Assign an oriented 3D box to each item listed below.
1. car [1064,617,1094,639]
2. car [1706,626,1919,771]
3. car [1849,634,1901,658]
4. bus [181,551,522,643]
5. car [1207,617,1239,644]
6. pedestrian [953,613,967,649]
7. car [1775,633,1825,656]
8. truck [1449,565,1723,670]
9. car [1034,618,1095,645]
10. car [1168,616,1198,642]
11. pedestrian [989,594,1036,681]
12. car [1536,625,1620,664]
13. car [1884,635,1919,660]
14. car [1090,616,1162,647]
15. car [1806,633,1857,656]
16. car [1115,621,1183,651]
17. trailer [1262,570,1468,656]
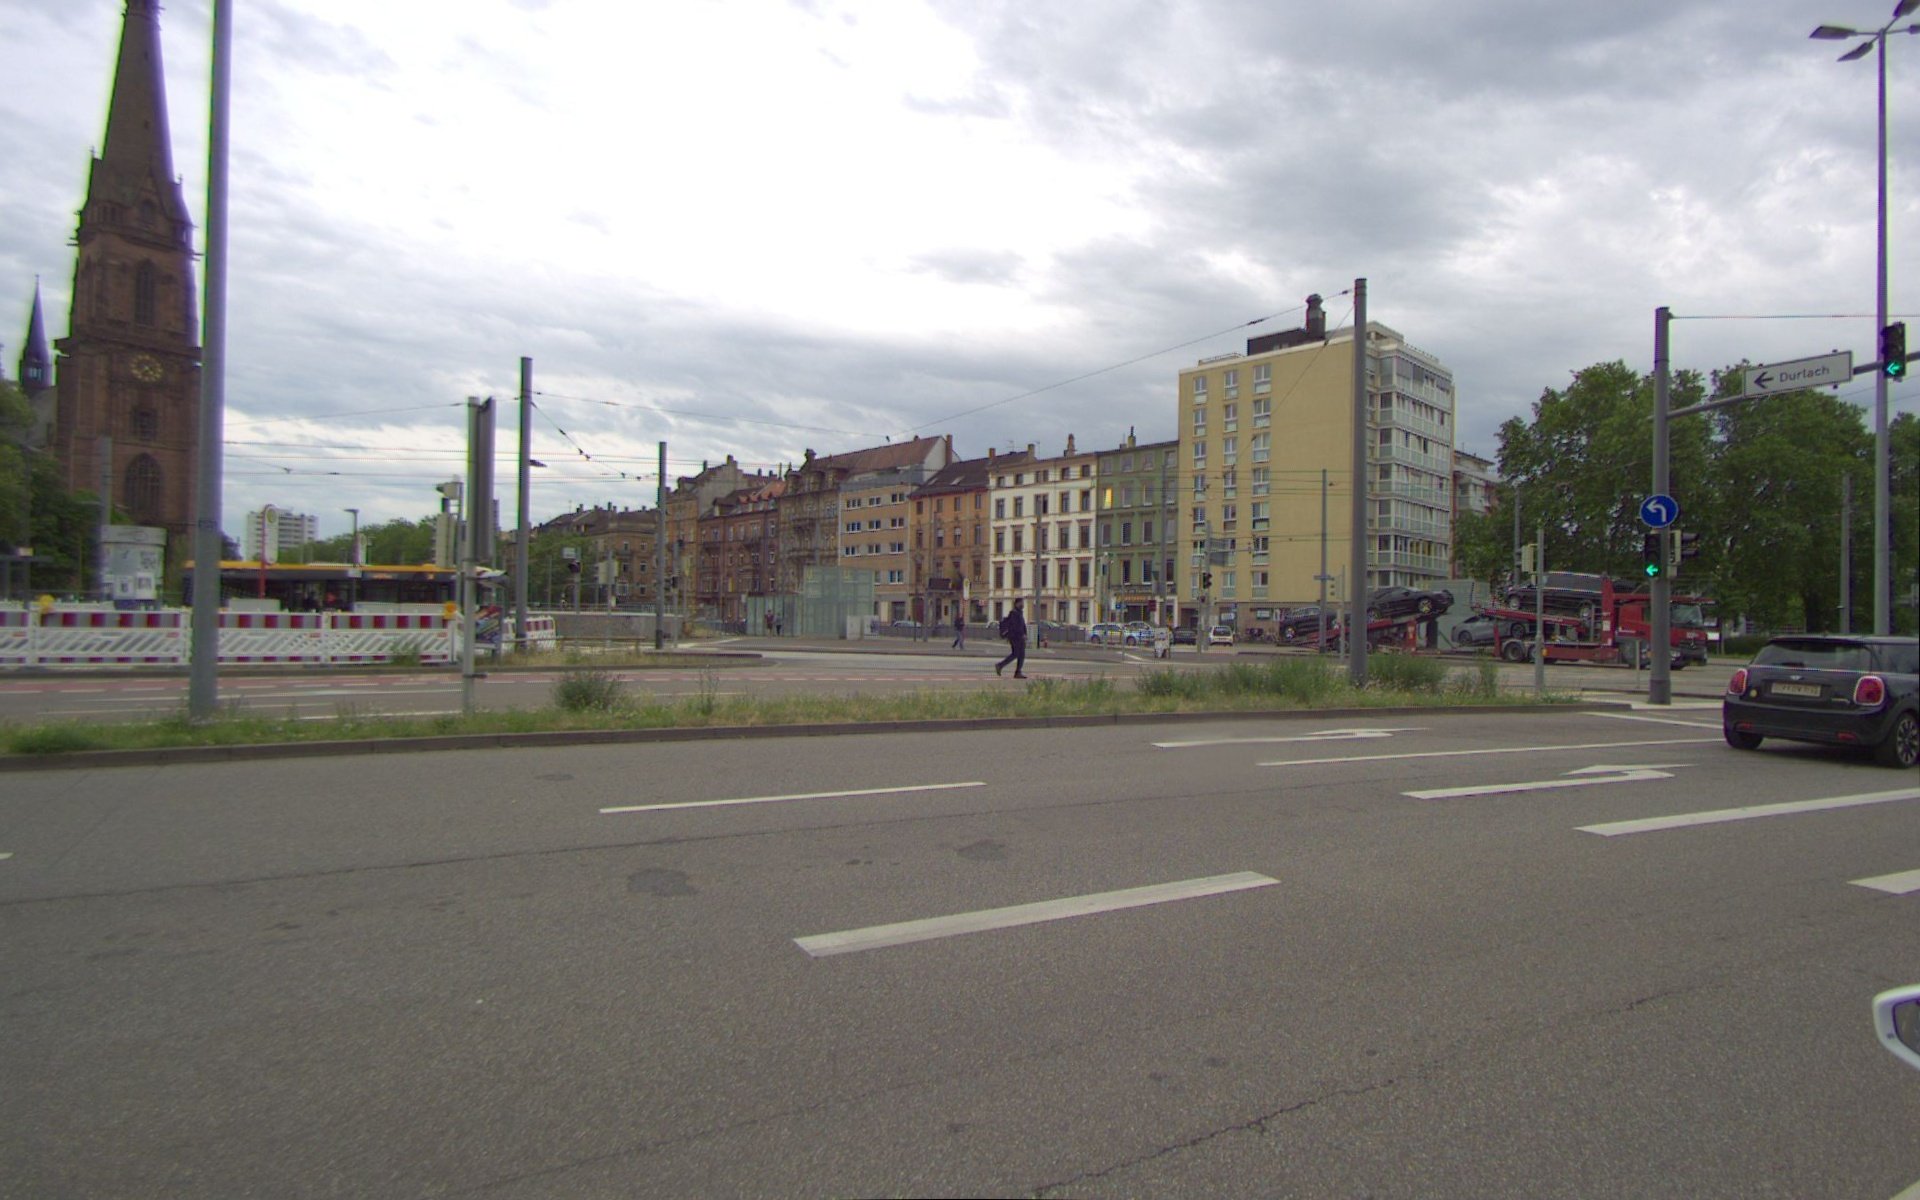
[{"bbox_3d":[9.968,2.311,83.816,2.039,1.779,4.002,2,0,12],"label":"car"},{"bbox_3d":[11.120,1.095,12.157,3.947,1.488,1.764,2,-1,-26],"label":"car"},{"bbox_3d":[81.850,4.101,89.863,3.943,2.040,1.989,2,0,-23],"label":"car"},{"bbox_3d":[-23.635,-0.130,39.335,11.779,3.118,2.866,2,0,3],"label":"bus"},{"bbox_3d":[19.166,2.208,73.347,2.039,1.779,4.002,2,0,12],"label":"car"},{"bbox_3d":[-0.018,1.414,45.605,0.474,1.632,0.423,1,-1,-28],"label":"pedestrian"},{"bbox_3d":[79.617,4.175,95.203,3.943,2.040,1.989,2,0,-23],"label":"car"},{"bbox_3d":[26.535,0.666,43.557,2.970,3.972,10.407,2,0,-20],"label":"truck"},{"bbox_3d":[7.438,2.221,71.946,3.945,1.751,1.988,1,0,45],"label":"car"},{"bbox_3d":[16.453,2.100,74.262,2.039,1.779,4.002,2,0,12],"label":"car"},{"bbox_3d":[1.225,0.860,23.387,0.962,1.969,0.782,1,-1,12],"label":"pedestrian"},{"bbox_3d":[35.510,2.529,57.753,3.936,2.040,1.992,2,0,38],"label":"car"},{"bbox_3d":[82.896,4.113,87.576,3.943,2.040,1.989,2,0,-23],"label":"car"},{"bbox_3d":[10.323,1.928,62.567,3.945,1.751,1.988,1,0,45],"label":"car"},{"bbox_3d":[80.329,4.087,92.587,3.943,2.040,1.989,2,0,-23],"label":"car"},{"bbox_3d":[12.365,2.340,65.822,3.945,1.751,1.988,1,0,45],"label":"car"},{"bbox_3d":[20.708,0.569,51.929,2.976,4.026,9.430,2,0,-43],"label":"trailer"}]
